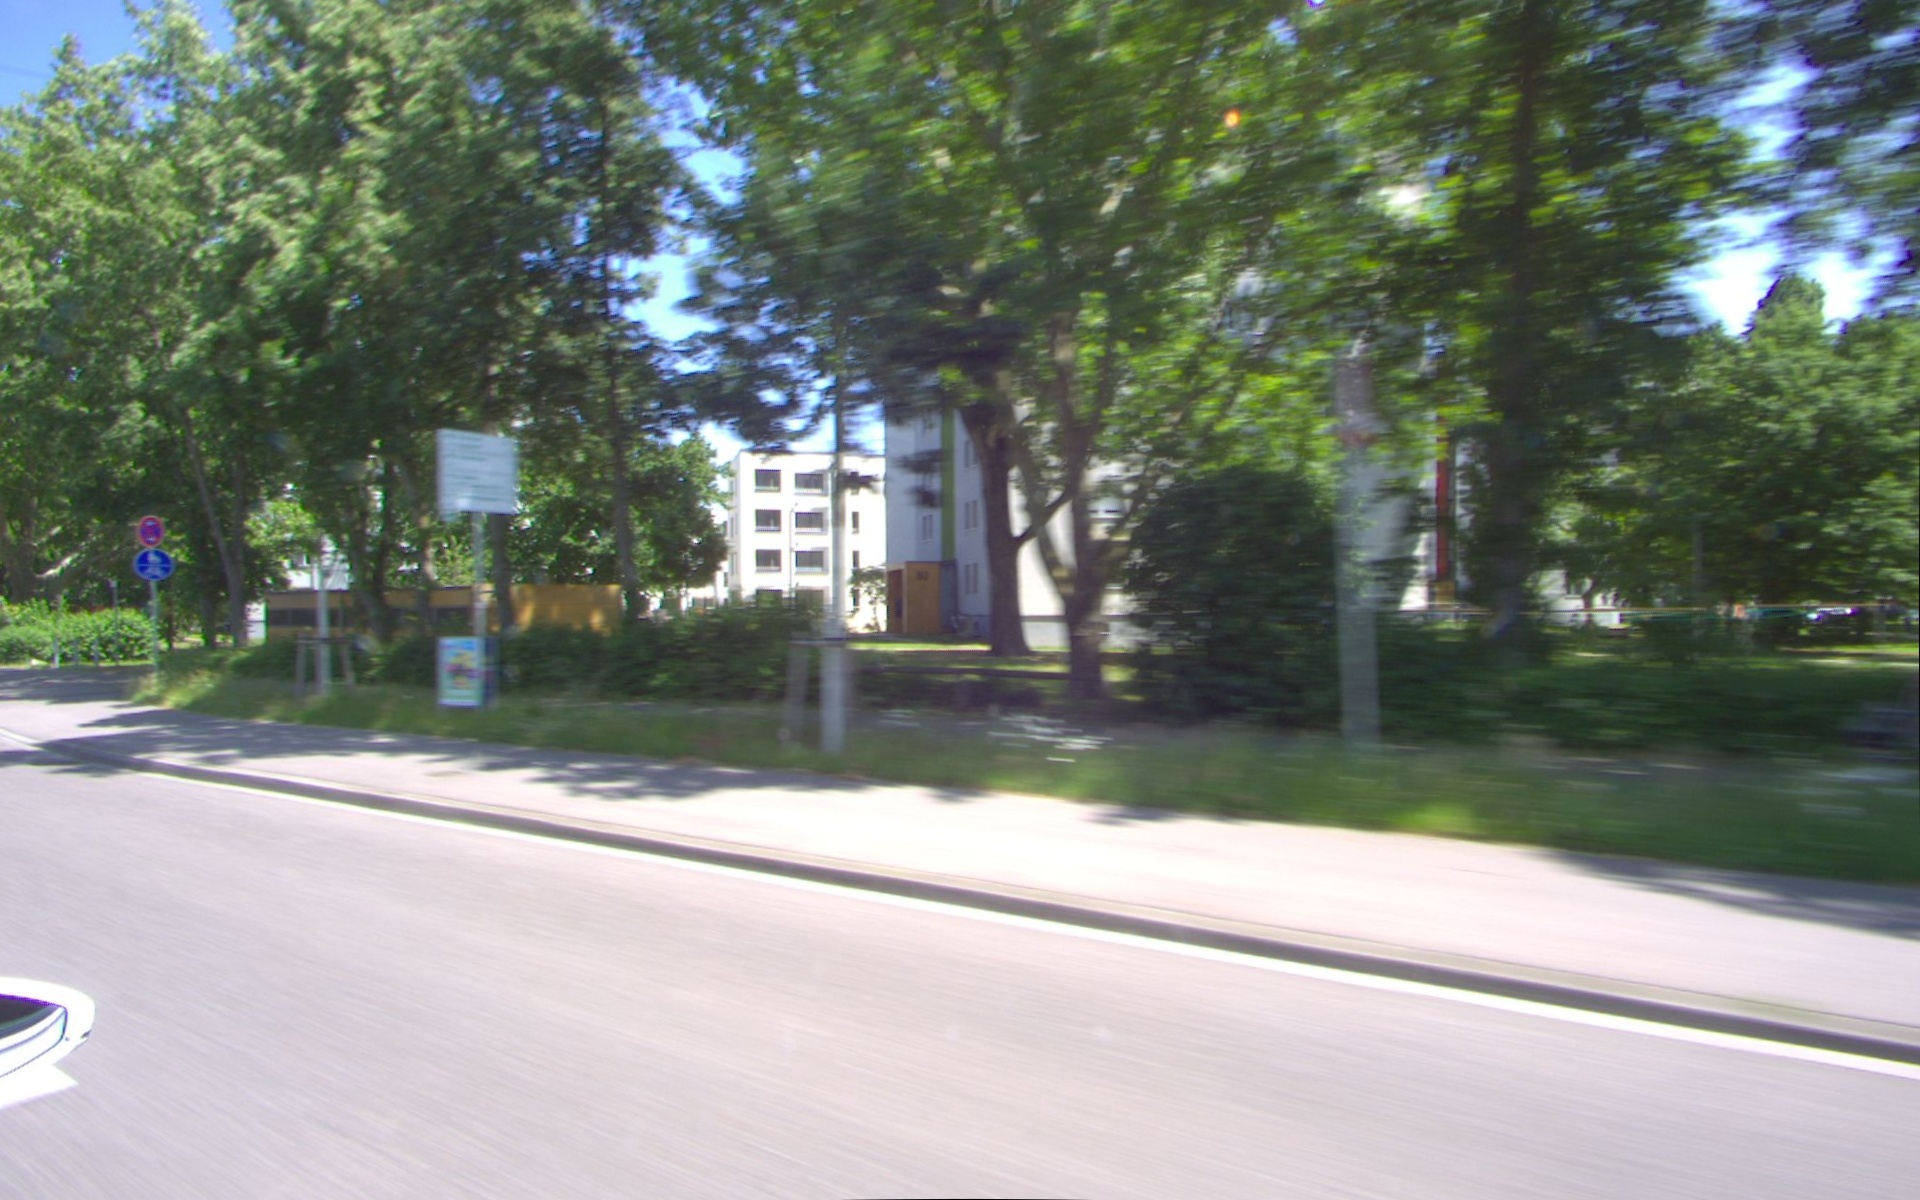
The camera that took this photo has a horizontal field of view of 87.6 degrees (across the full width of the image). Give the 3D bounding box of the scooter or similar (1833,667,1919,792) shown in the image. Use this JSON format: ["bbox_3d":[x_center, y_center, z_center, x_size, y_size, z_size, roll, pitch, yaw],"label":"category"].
[{"bbox_3d":[7.361,0.994,7.789,0.752,0.904,0.707,0,-1,32],"label":"scooter or similar"}]
